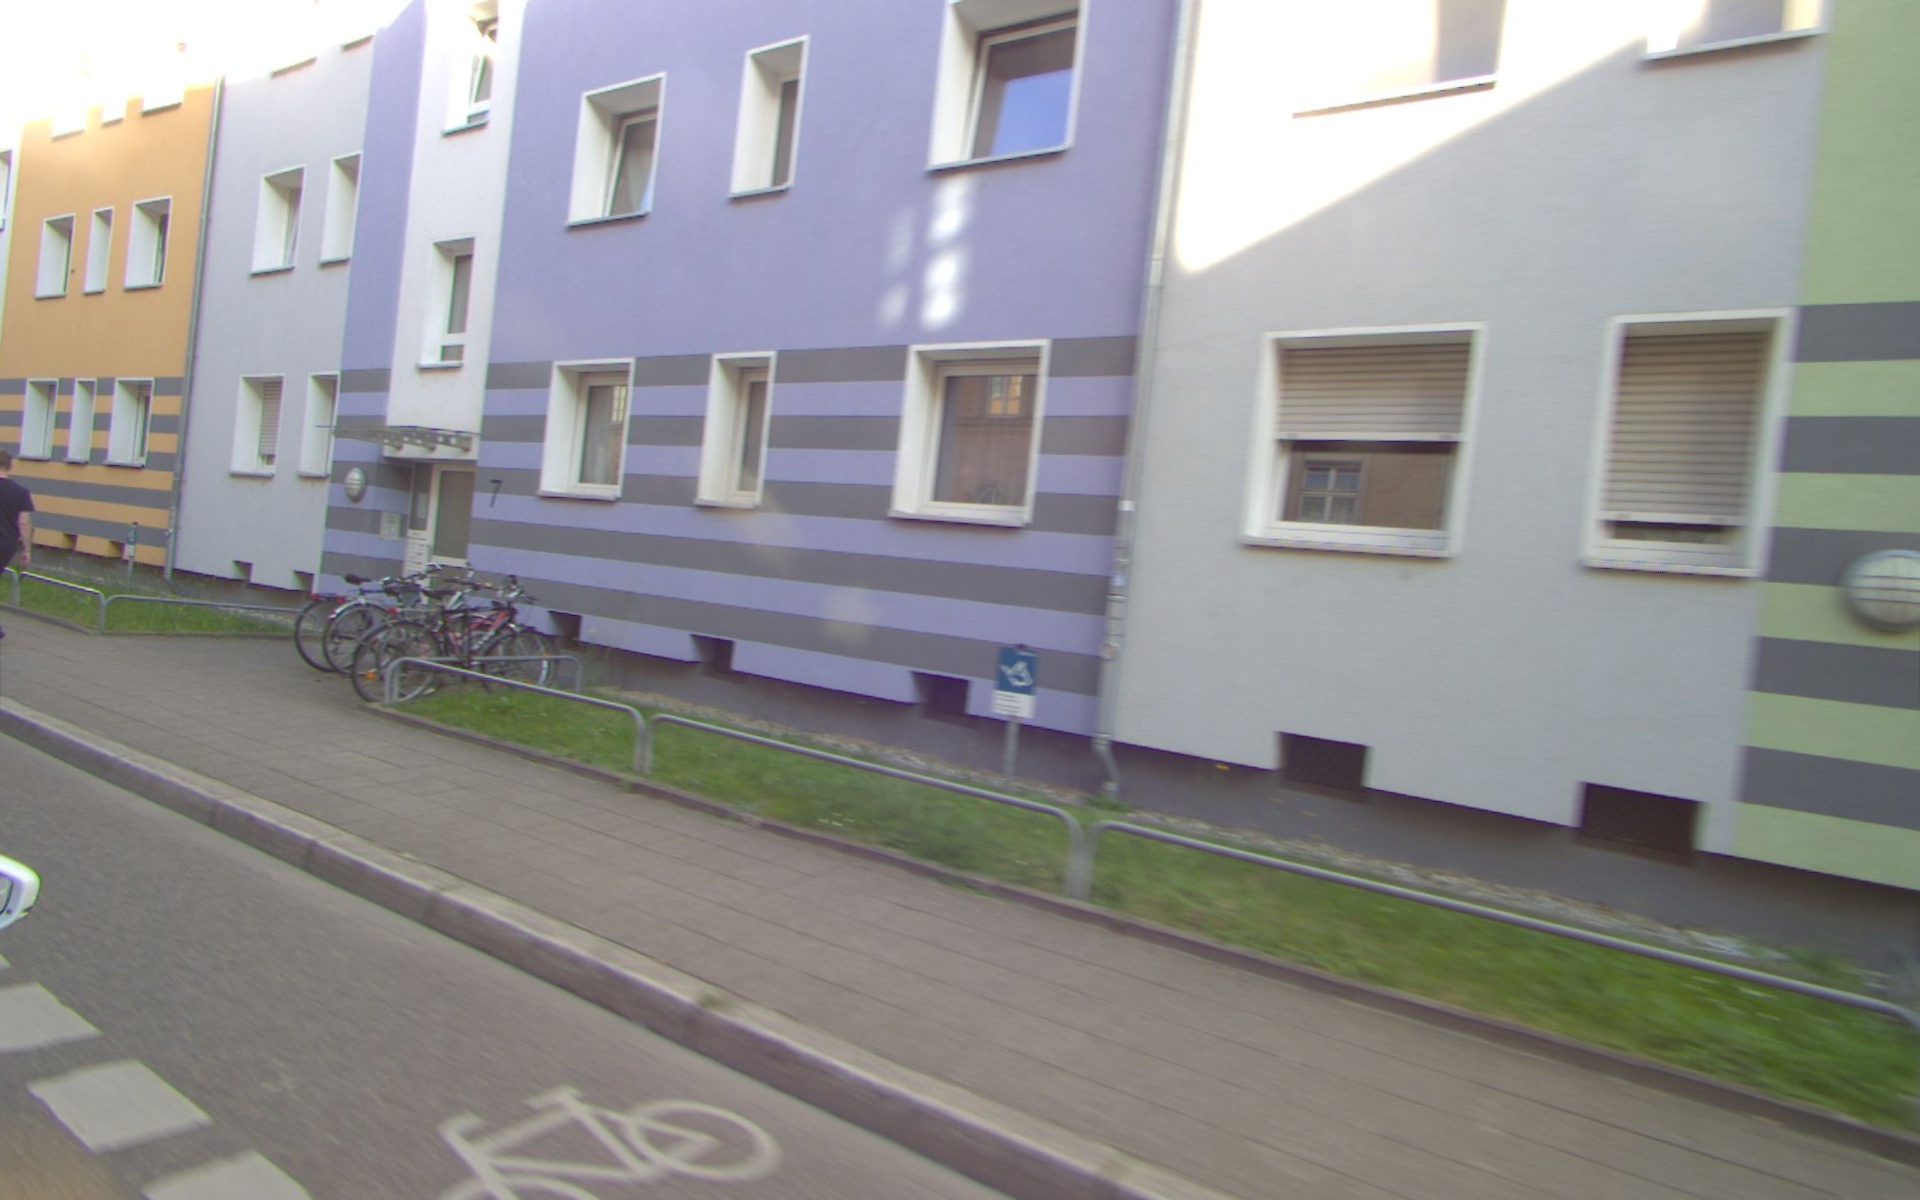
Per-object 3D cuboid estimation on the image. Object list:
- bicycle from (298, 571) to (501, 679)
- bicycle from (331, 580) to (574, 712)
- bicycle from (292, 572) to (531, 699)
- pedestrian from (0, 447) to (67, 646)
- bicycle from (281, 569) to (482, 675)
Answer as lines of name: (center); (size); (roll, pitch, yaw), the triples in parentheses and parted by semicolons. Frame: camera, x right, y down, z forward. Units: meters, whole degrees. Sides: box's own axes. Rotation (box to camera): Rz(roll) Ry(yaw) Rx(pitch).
bicycle: (-5.428, 0.274, 9.863); (0.320, 0.958, 1.750); (6, 0, 31)
bicycle: (-4.199, 0.396, 8.472); (0.542, 0.958, 1.750); (6, 0, 30)
bicycle: (-4.718, 0.326, 8.787); (0.542, 0.958, 1.750); (6, 0, 30)
pedestrian: (-9.049, -0.523, 9.390); (1.169, 1.783, 0.697); (7, 3, 31)
bicycle: (-5.732, 0.246, 10.079); (0.329, 0.958, 1.750); (6, 0, 30)
